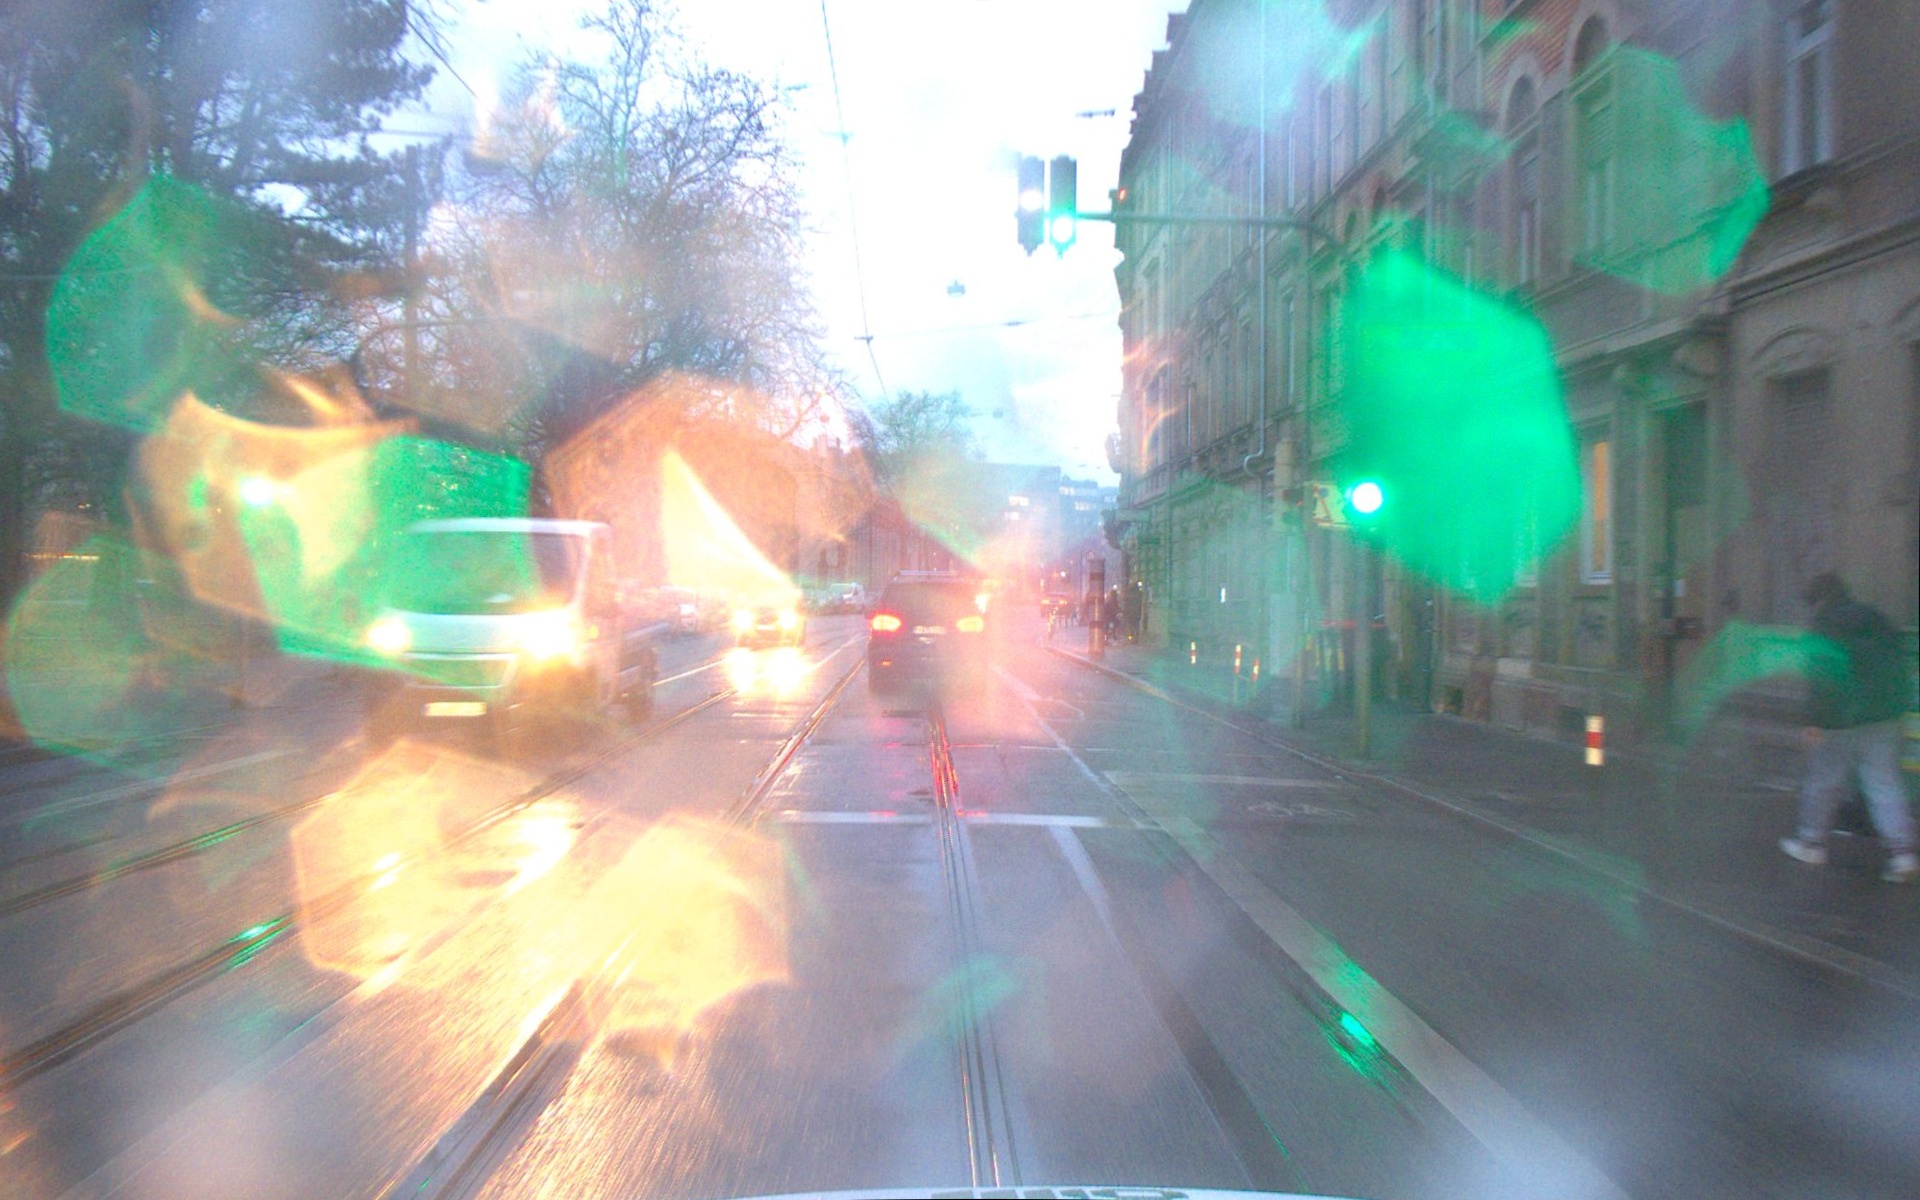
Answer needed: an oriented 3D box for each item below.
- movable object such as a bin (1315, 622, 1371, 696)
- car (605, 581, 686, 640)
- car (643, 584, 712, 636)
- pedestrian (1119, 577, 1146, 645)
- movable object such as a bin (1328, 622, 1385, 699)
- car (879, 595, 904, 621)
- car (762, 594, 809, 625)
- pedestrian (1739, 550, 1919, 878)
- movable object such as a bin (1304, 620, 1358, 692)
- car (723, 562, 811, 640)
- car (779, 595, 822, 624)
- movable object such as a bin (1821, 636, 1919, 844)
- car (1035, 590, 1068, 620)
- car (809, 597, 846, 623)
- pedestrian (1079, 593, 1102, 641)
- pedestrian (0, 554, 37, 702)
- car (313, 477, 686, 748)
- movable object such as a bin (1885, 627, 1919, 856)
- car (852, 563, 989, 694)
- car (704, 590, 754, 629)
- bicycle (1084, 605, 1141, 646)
[{"bbox_3d":[5.722,0.873,24.739,0.627,1.073,0.744,1,-1,-1],"label":"movable object such as a bin"},{"bbox_3d":[-9.403,0.305,49.690,1.945,1.644,4.424,1,0,-5],"label":"car"},{"bbox_3d":[-9.573,0.338,56.381,1.945,1.644,4.424,1,0,-5],"label":"car"},{"bbox_3d":[5.087,0.332,48.818,0.701,1.987,0.657,1,-1,-1],"label":"pedestrian"},{"bbox_3d":[5.741,0.869,23.971,0.627,1.073,0.744,1,-1,-1],"label":"movable object such as a bin"},{"bbox_3d":[-5.632,0.644,136.391,1.953,2.049,3.999,1,0,-1],"label":"car"},{"bbox_3d":[-9.822,0.536,93.404,1.943,1.644,4.430,1,0,2],"label":"car"},{"bbox_3d":[4.973,0.610,9.276,0.817,1.731,0.954,1,-1,7],"label":"pedestrian"},{"bbox_3d":[5.712,0.855,25.503,0.627,1.073,0.744,1,-1,-1],"label":"movable object such as a bin"},{"bbox_3d":[-5.401,0.039,46.731,1.952,2.049,4.000,1,0,1],"label":"car"},{"bbox_3d":[-9.451,0.572,98.538,1.943,1.644,4.430,1,0,2],"label":"car"},{"bbox_3d":[6.012,0.855,10.406,0.749,1.232,0.818,0,0,-1],"label":"movable object such as a bin"},{"bbox_3d":[5.945,0.297,107.651,1.952,1.874,4.001,1,0,1],"label":"car"},{"bbox_3d":[-8.564,0.639,106.988,1.943,1.644,4.429,1,0,1],"label":"car"},{"bbox_3d":[4.977,0.629,63.151,0.756,1.806,0.684,1,-1,-2],"label":"pedestrian"},{"bbox_3d":[-12.347,0.340,20.837,0.803,1.847,1.010,1,-1,2],"label":"pedestrian"},{"bbox_3d":[-4.544,0.118,17.524,2.397,2.388,5.843,0,0,-1],"label":"car"},{"bbox_3d":[5.991,0.821,9.227,0.871,1.311,1.260,0,0,-8],"label":"movable object such as a bin"},{"bbox_3d":[-0.542,0.416,26.129,1.952,1.874,4.001,1,0,1],"label":"car"},{"bbox_3d":[-10.062,0.414,72.312,1.945,1.644,4.424,1,0,-5],"label":"car"},{"bbox_3d":[4.459,0.740,48.591,0.781,1.164,2.230,1,0,-20],"label":"bicycle"}]
